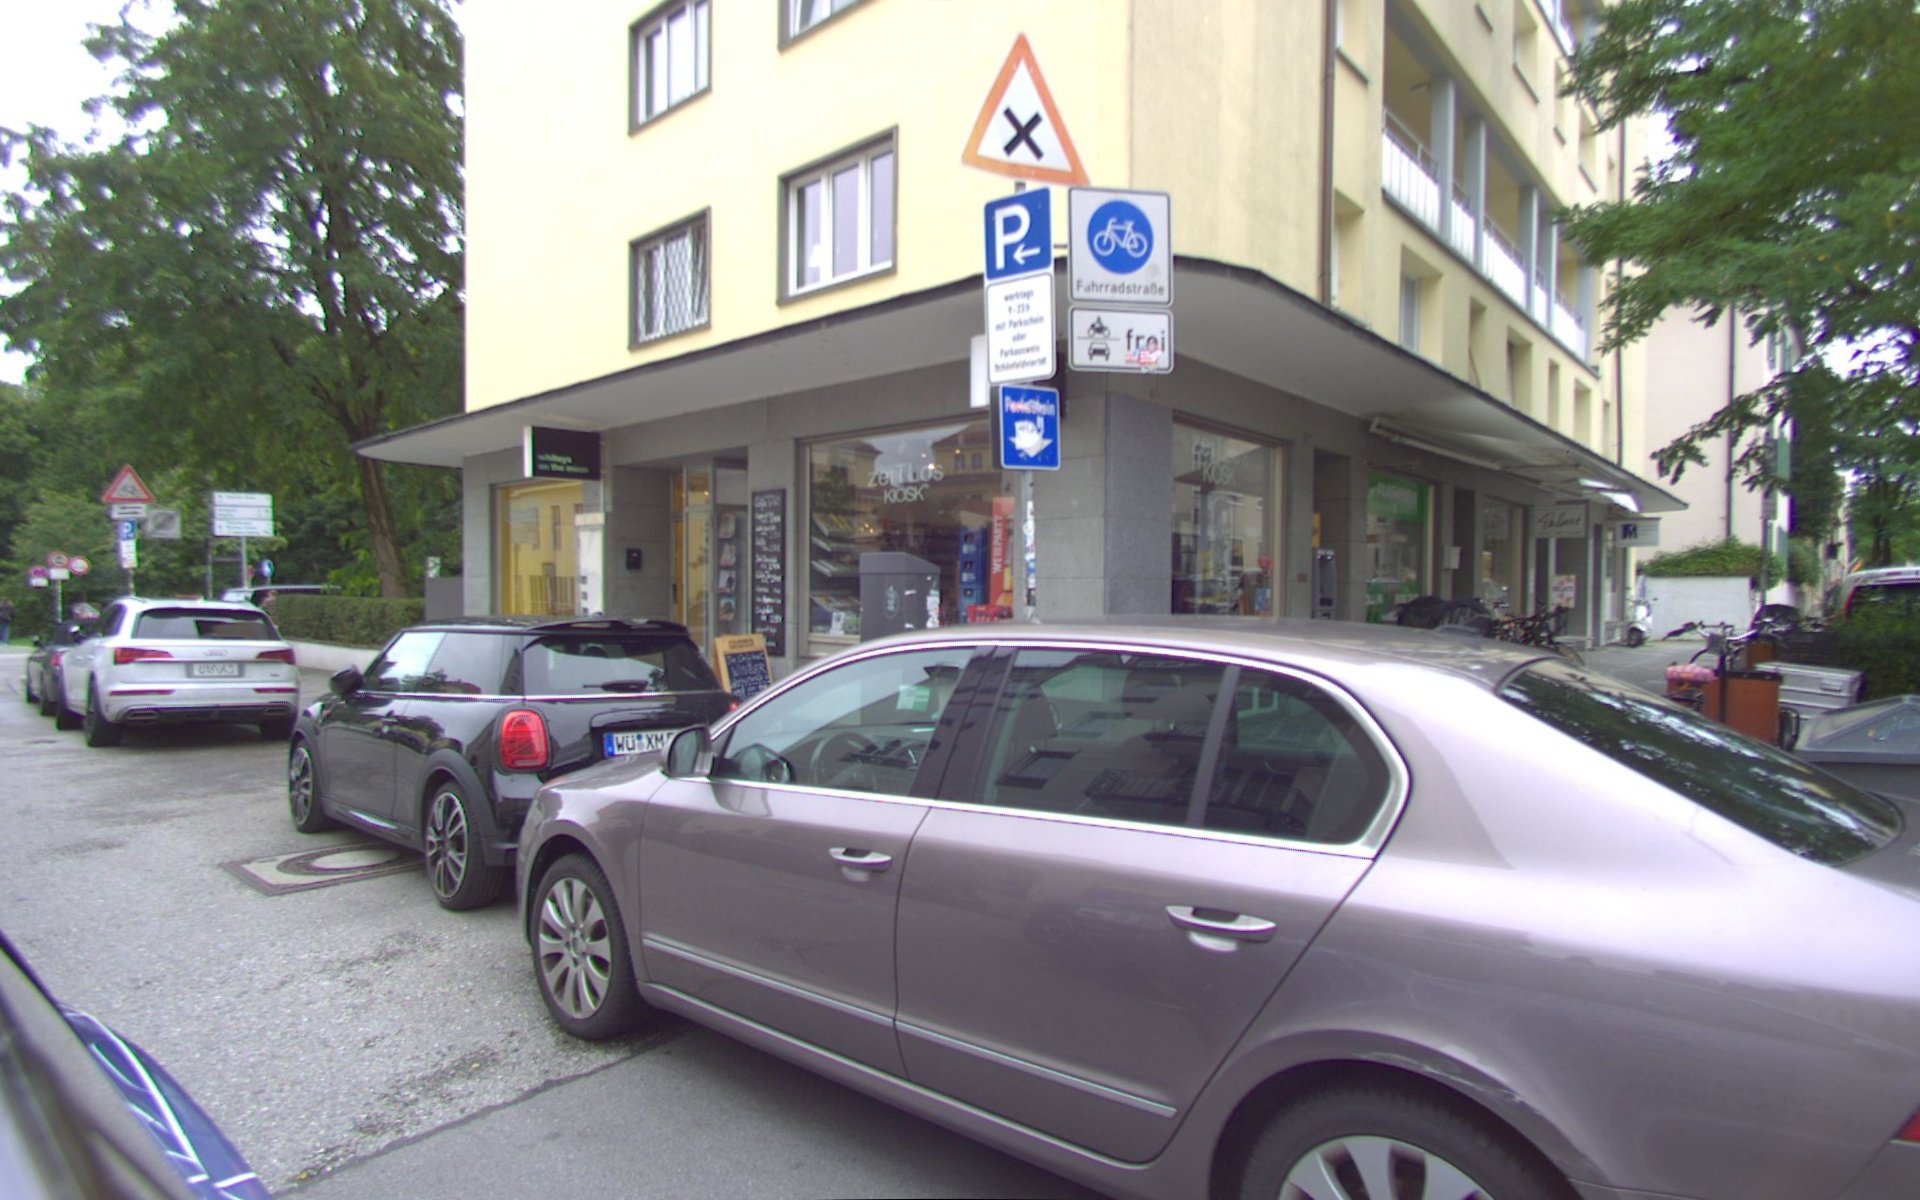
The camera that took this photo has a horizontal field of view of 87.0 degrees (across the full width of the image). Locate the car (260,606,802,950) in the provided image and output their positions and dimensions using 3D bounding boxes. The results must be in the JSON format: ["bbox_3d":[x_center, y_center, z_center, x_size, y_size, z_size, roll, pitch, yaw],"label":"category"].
[{"bbox_3d":[-2.927,0.793,6.402,4.098,1.482,1.660,0,-1,44],"label":"car"}]

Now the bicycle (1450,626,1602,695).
[{"bbox_3d":[7.420,0.771,13.327,1.722,0.786,0.289,2,1,41],"label":"bicycle"}]

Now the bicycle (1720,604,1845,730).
[{"bbox_3d":[9.065,0.689,11.114,0.818,1.221,2.339,2,0,45],"label":"bicycle"}]

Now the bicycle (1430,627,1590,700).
[{"bbox_3d":[6.839,0.770,12.648,1.722,0.786,0.289,2,1,41],"label":"bicycle"}]

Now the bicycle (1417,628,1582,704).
[{"bbox_3d":[6.457,0.770,12.183,1.722,0.786,0.289,2,1,41],"label":"bicycle"}]

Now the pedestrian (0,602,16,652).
[{"bbox_3d":[-34.722,0.979,36.717,0.801,1.795,0.626,-3,-3,43],"label":"pedestrian"}]

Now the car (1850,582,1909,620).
[{"bbox_3d":[41.769,0.055,45.931,1.776,1.608,4.107,-4,-3,44],"label":"car"}]

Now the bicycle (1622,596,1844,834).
[{"bbox_3d":[5.298,0.629,6.836,0.818,1.220,2.810,2,3,45],"label":"bicycle"}]

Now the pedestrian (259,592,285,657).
[{"bbox_3d":[-19.466,0.700,28.640,0.551,1.812,0.642,-1,-2,-30],"label":"pedestrian"}]

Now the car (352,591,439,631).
[{"bbox_3d":[-31.458,0.597,56.479,3.900,2.120,1.911,-1,1,-17],"label":"car"}]

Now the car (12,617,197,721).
[{"bbox_3d":[-13.568,0.990,15.971,4.097,1.421,1.726,-1,-2,43],"label":"car"}]

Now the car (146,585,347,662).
[{"bbox_3d":[-20.574,0.610,29.386,1.927,2.016,4.379,1,1,27],"label":"car"}]

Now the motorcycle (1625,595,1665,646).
[{"bbox_3d":[15.922,0.457,23.508,0.462,1.092,1.820,1,3,43],"label":"motorcycle"}]

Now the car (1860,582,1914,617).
[{"bbox_3d":[46.273,0.002,50.490,1.776,1.608,4.107,-4,-3,44],"label":"car"}]

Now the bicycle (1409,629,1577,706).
[{"bbox_3d":[6.263,0.773,11.961,1.722,0.786,0.289,2,1,41],"label":"bicycle"}]

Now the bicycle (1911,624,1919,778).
[{"bbox_3d":[6.948,0.670,6.107,1.714,0.973,0.376,1,3,39],"label":"bicycle"}]

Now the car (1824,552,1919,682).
[{"bbox_3d":[15.275,0.240,16.140,1.907,1.859,4.397,-4,-3,44],"label":"car"}]

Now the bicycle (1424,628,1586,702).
[{"bbox_3d":[6.647,0.770,12.419,1.722,0.786,0.289,2,1,41],"label":"bicycle"}]

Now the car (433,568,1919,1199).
[{"bbox_3d":[0.354,0.722,3.030,4.946,1.482,1.662,0,-1,40],"label":"car"}]

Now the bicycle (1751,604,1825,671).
[{"bbox_3d":[15.298,0.656,18.679,0.818,1.110,2.339,2,2,45],"label":"bicycle"}]

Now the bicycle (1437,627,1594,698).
[{"bbox_3d":[7.032,0.770,12.880,1.722,0.786,0.289,2,1,41],"label":"bicycle"}]

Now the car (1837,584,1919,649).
[{"bbox_3d":[25.098,0.432,27.374,1.776,1.608,4.107,-4,-3,44],"label":"car"}]

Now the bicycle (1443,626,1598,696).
[{"bbox_3d":[7.222,0.770,13.103,1.722,0.786,0.289,2,1,41],"label":"bicycle"}]

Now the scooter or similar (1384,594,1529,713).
[{"bbox_3d":[5.413,0.547,11.122,0.986,1.210,1.203,1,1,2],"label":"scooter or similar"}]

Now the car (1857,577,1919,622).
[{"bbox_3d":[36.454,-0.023,39.440,1.997,1.608,4.107,-4,-3,44],"label":"car"}]

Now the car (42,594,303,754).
[{"bbox_3d":[-9.614,0.809,12.227,4.337,1.596,1.783,-2,-3,43],"label":"car"}]

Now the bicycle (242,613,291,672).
[{"bbox_3d":[-15.231,0.907,22.200,0.555,1.219,1.855,-1,1,-45],"label":"bicycle"}]
